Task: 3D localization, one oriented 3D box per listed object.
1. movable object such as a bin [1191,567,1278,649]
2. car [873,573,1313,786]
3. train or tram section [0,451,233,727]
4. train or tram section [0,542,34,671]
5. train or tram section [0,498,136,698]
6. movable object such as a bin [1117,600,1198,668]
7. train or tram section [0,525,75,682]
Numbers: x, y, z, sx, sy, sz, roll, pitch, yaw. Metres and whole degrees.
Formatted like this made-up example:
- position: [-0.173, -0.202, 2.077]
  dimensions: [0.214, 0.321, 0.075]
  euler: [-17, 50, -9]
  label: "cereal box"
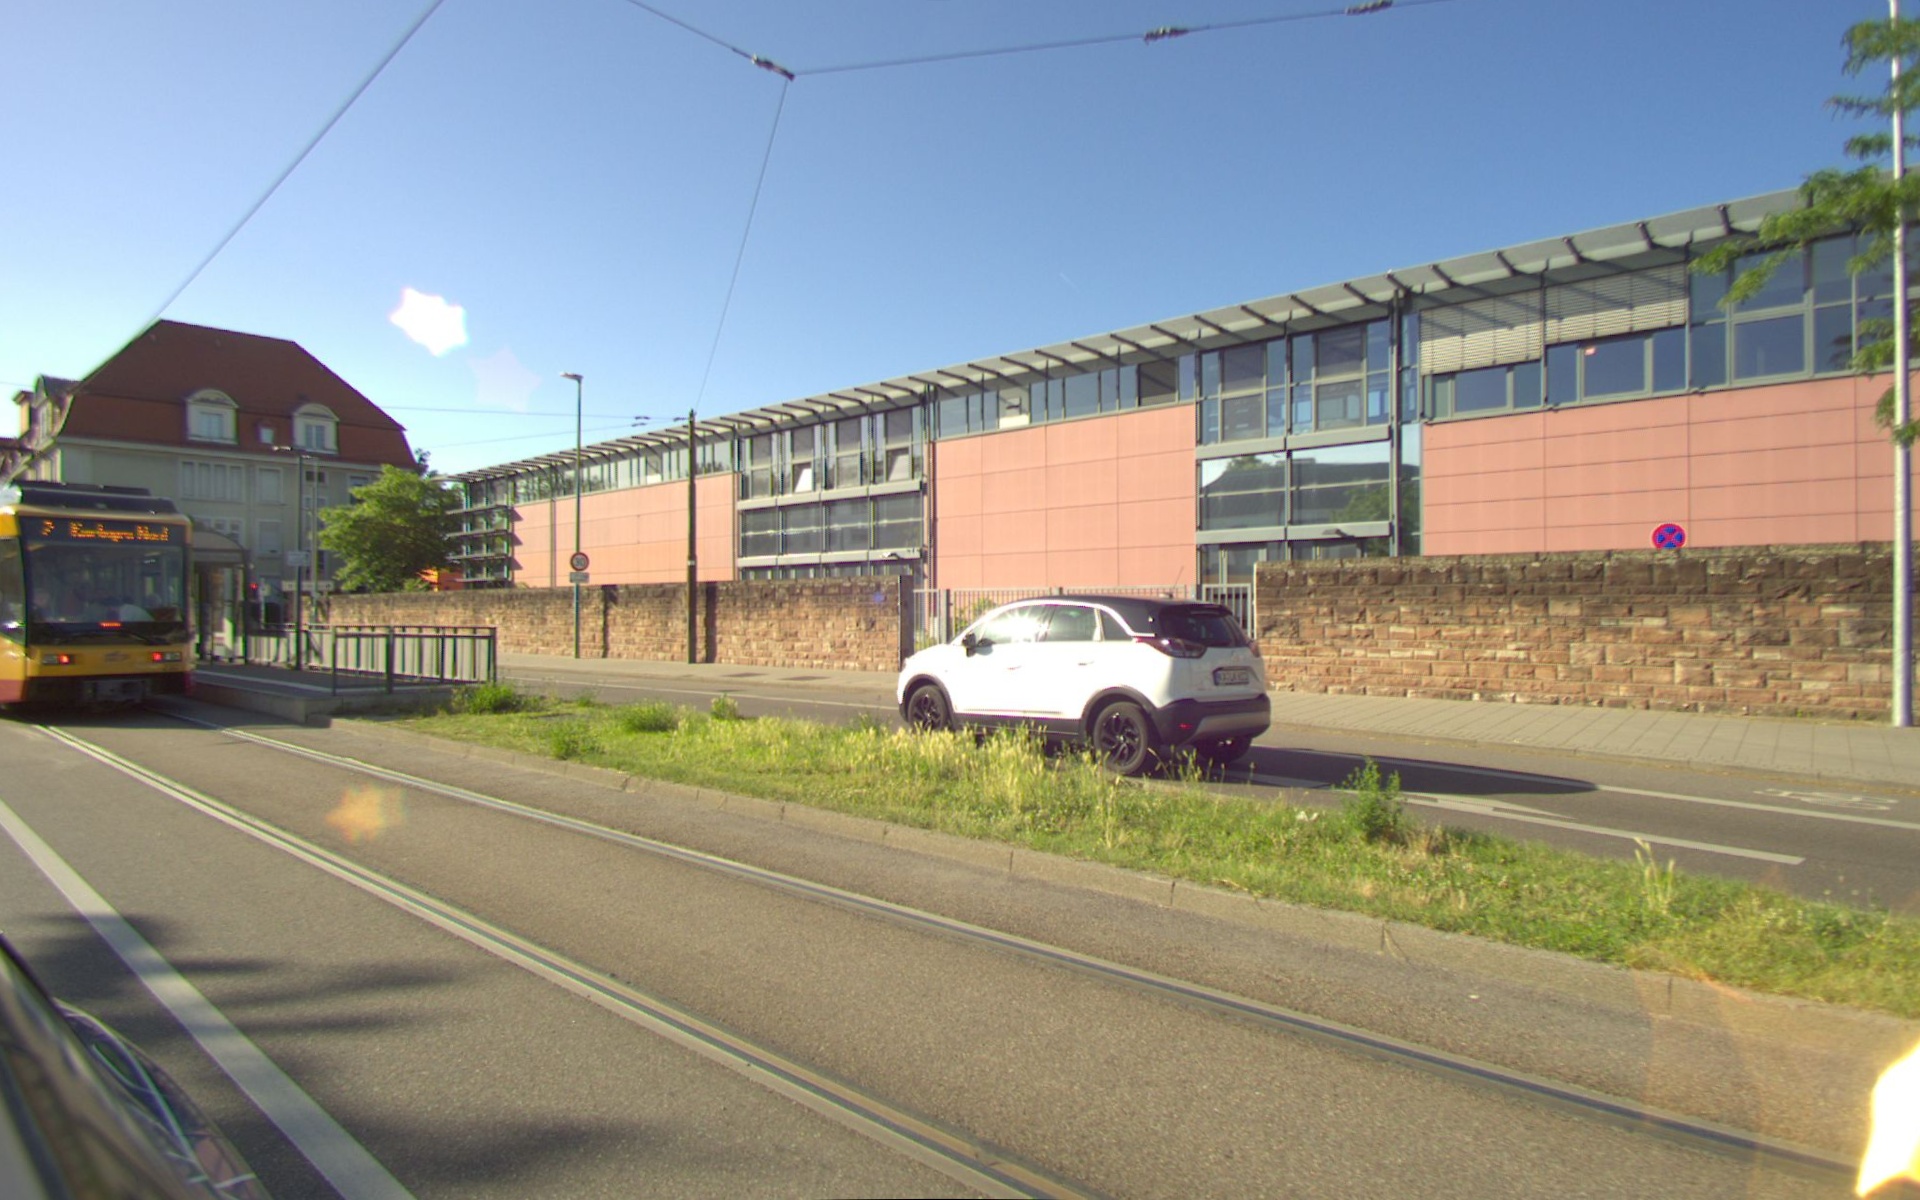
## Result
- position: [5.081, 0.161, 18.759]
  dimensions: [1.308, 1.458, 0.872]
  euler: [-1, -1, 40]
  label: "movable object such as a bin"
- position: [1.124, 0.660, 10.123]
  dimensions: [1.744, 1.676, 4.214]
  euler: [1, -1, -43]
  label: "car"
- position: [-13.941, -0.093, 15.802]
  dimensions: [6.665, 3.486, 2.774]
  euler: [-1, -1, 41]
  label: "train or tram section"
- position: [-28.918, 0.226, 29.028]
  dimensions: [6.665, 3.486, 2.774]
  euler: [-1, -1, 41]
  label: "train or tram section"
- position: [-18.912, 0.016, 20.202]
  dimensions: [6.665, 3.486, 2.774]
  euler: [-1, -1, 41]
  label: "train or tram section"
- position: [3.871, 0.652, 19.837]
  dimensions: [1.308, 1.295, 0.872]
  euler: [-1, -1, 39]
  label: "movable object such as a bin"
- position: [-23.932, 0.121, 24.630]
  dimensions: [6.665, 3.486, 2.774]
  euler: [-1, -1, 41]
  label: "train or tram section"
